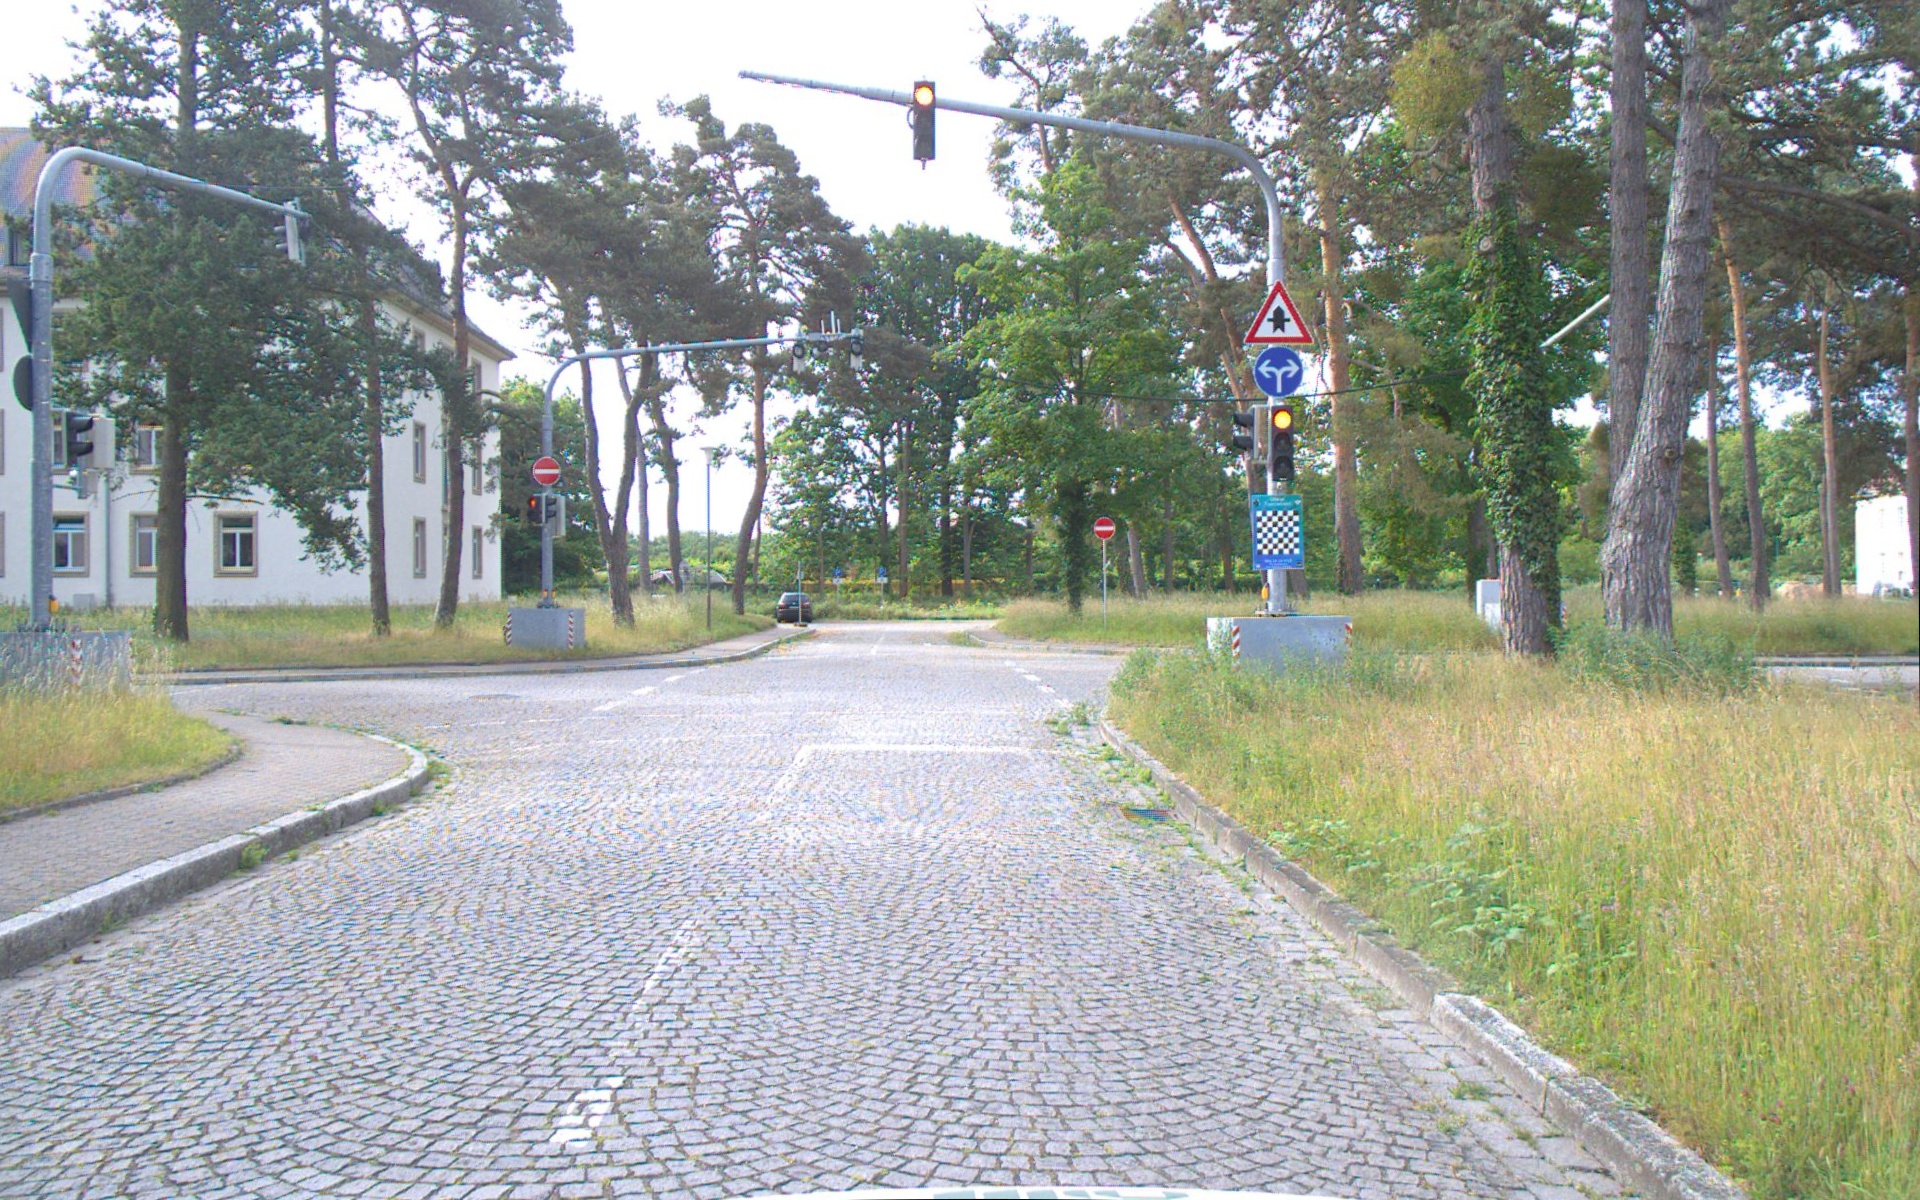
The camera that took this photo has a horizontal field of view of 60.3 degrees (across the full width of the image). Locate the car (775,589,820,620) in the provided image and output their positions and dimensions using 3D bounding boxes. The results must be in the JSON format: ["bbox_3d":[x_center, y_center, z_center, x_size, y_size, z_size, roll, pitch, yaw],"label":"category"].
[{"bbox_3d":[-8.487,0.227,86.726,1.953,1.534,3.999,1,0,-1],"label":"car"}]

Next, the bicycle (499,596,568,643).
[{"bbox_3d":[-9.490,0.427,36.796,1.432,1.013,0.451,-1,0,-9],"label":"bicycle"}]
